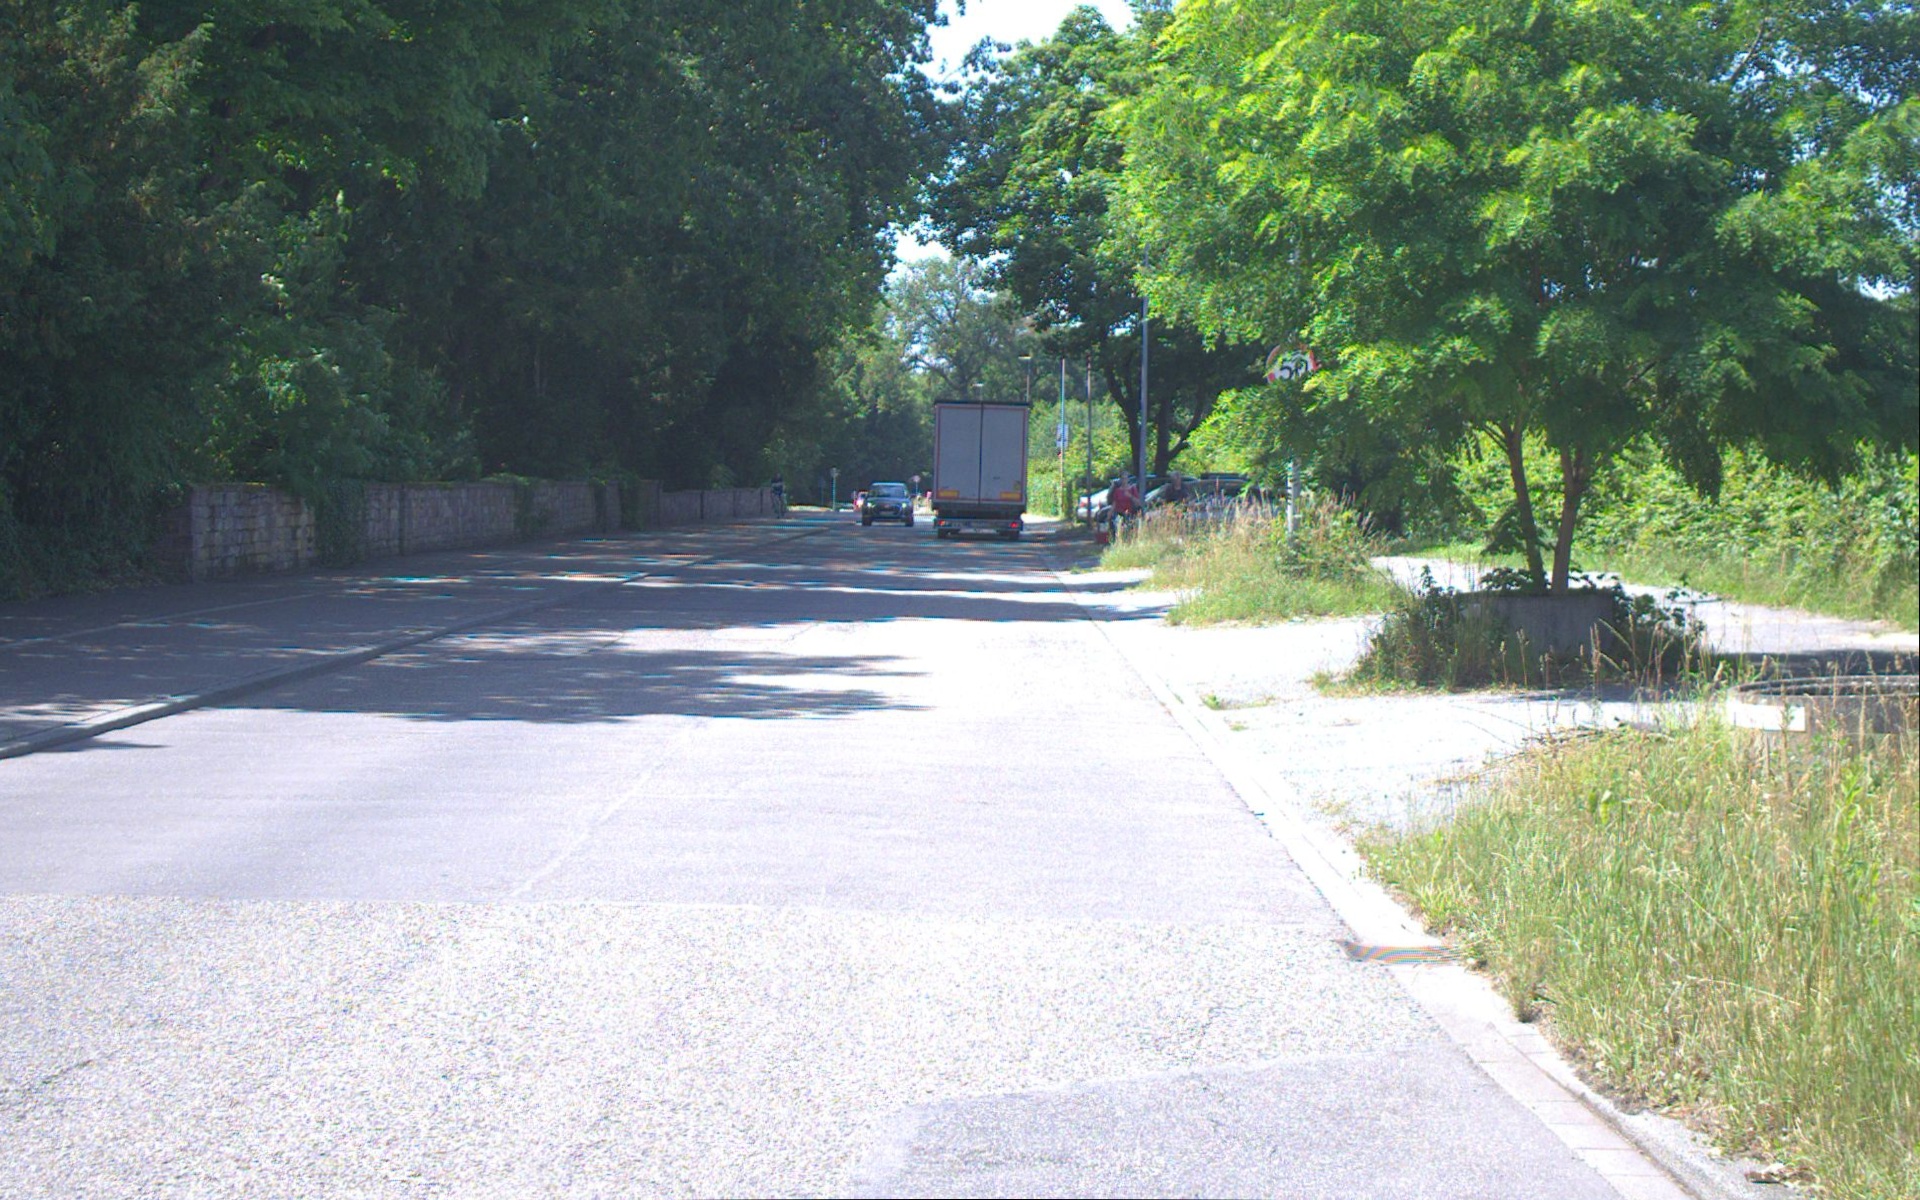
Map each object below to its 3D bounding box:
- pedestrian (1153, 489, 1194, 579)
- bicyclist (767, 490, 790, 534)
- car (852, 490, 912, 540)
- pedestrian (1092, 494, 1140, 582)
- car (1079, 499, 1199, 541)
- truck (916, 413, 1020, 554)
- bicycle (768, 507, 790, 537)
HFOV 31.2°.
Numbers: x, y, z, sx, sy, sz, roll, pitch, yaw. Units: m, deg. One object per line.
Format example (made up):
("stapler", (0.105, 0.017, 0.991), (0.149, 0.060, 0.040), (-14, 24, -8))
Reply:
("pedestrian", (4.196, -1.310, 67.631), (0.739, 1.732, 0.886), (-1, 3, -1))
("bicyclist", (-7.216, -3.506, 136.626), (0.832, 1.710, 0.957), (0, 3, 1))
("car", (-2.780, -3.091, 123.972), (1.993, 1.678, 4.263), (0, 3, 1))
("pedestrian", (3.028, -1.215, 66.660), (0.863, 1.671, 0.886), (-1, 3, -1))
("car", (6.360, -2.860, 122.605), (4.196, 1.440, 1.739), (0, 3, 1))
("truck", (0.296, -3.432, 98.386), (2.733, 3.732, 13.247), (1, 3, 1))
("bicycle", (-7.196, -3.106, 136.680), (0.718, 1.155, 2.231), (0, 3, 1))
